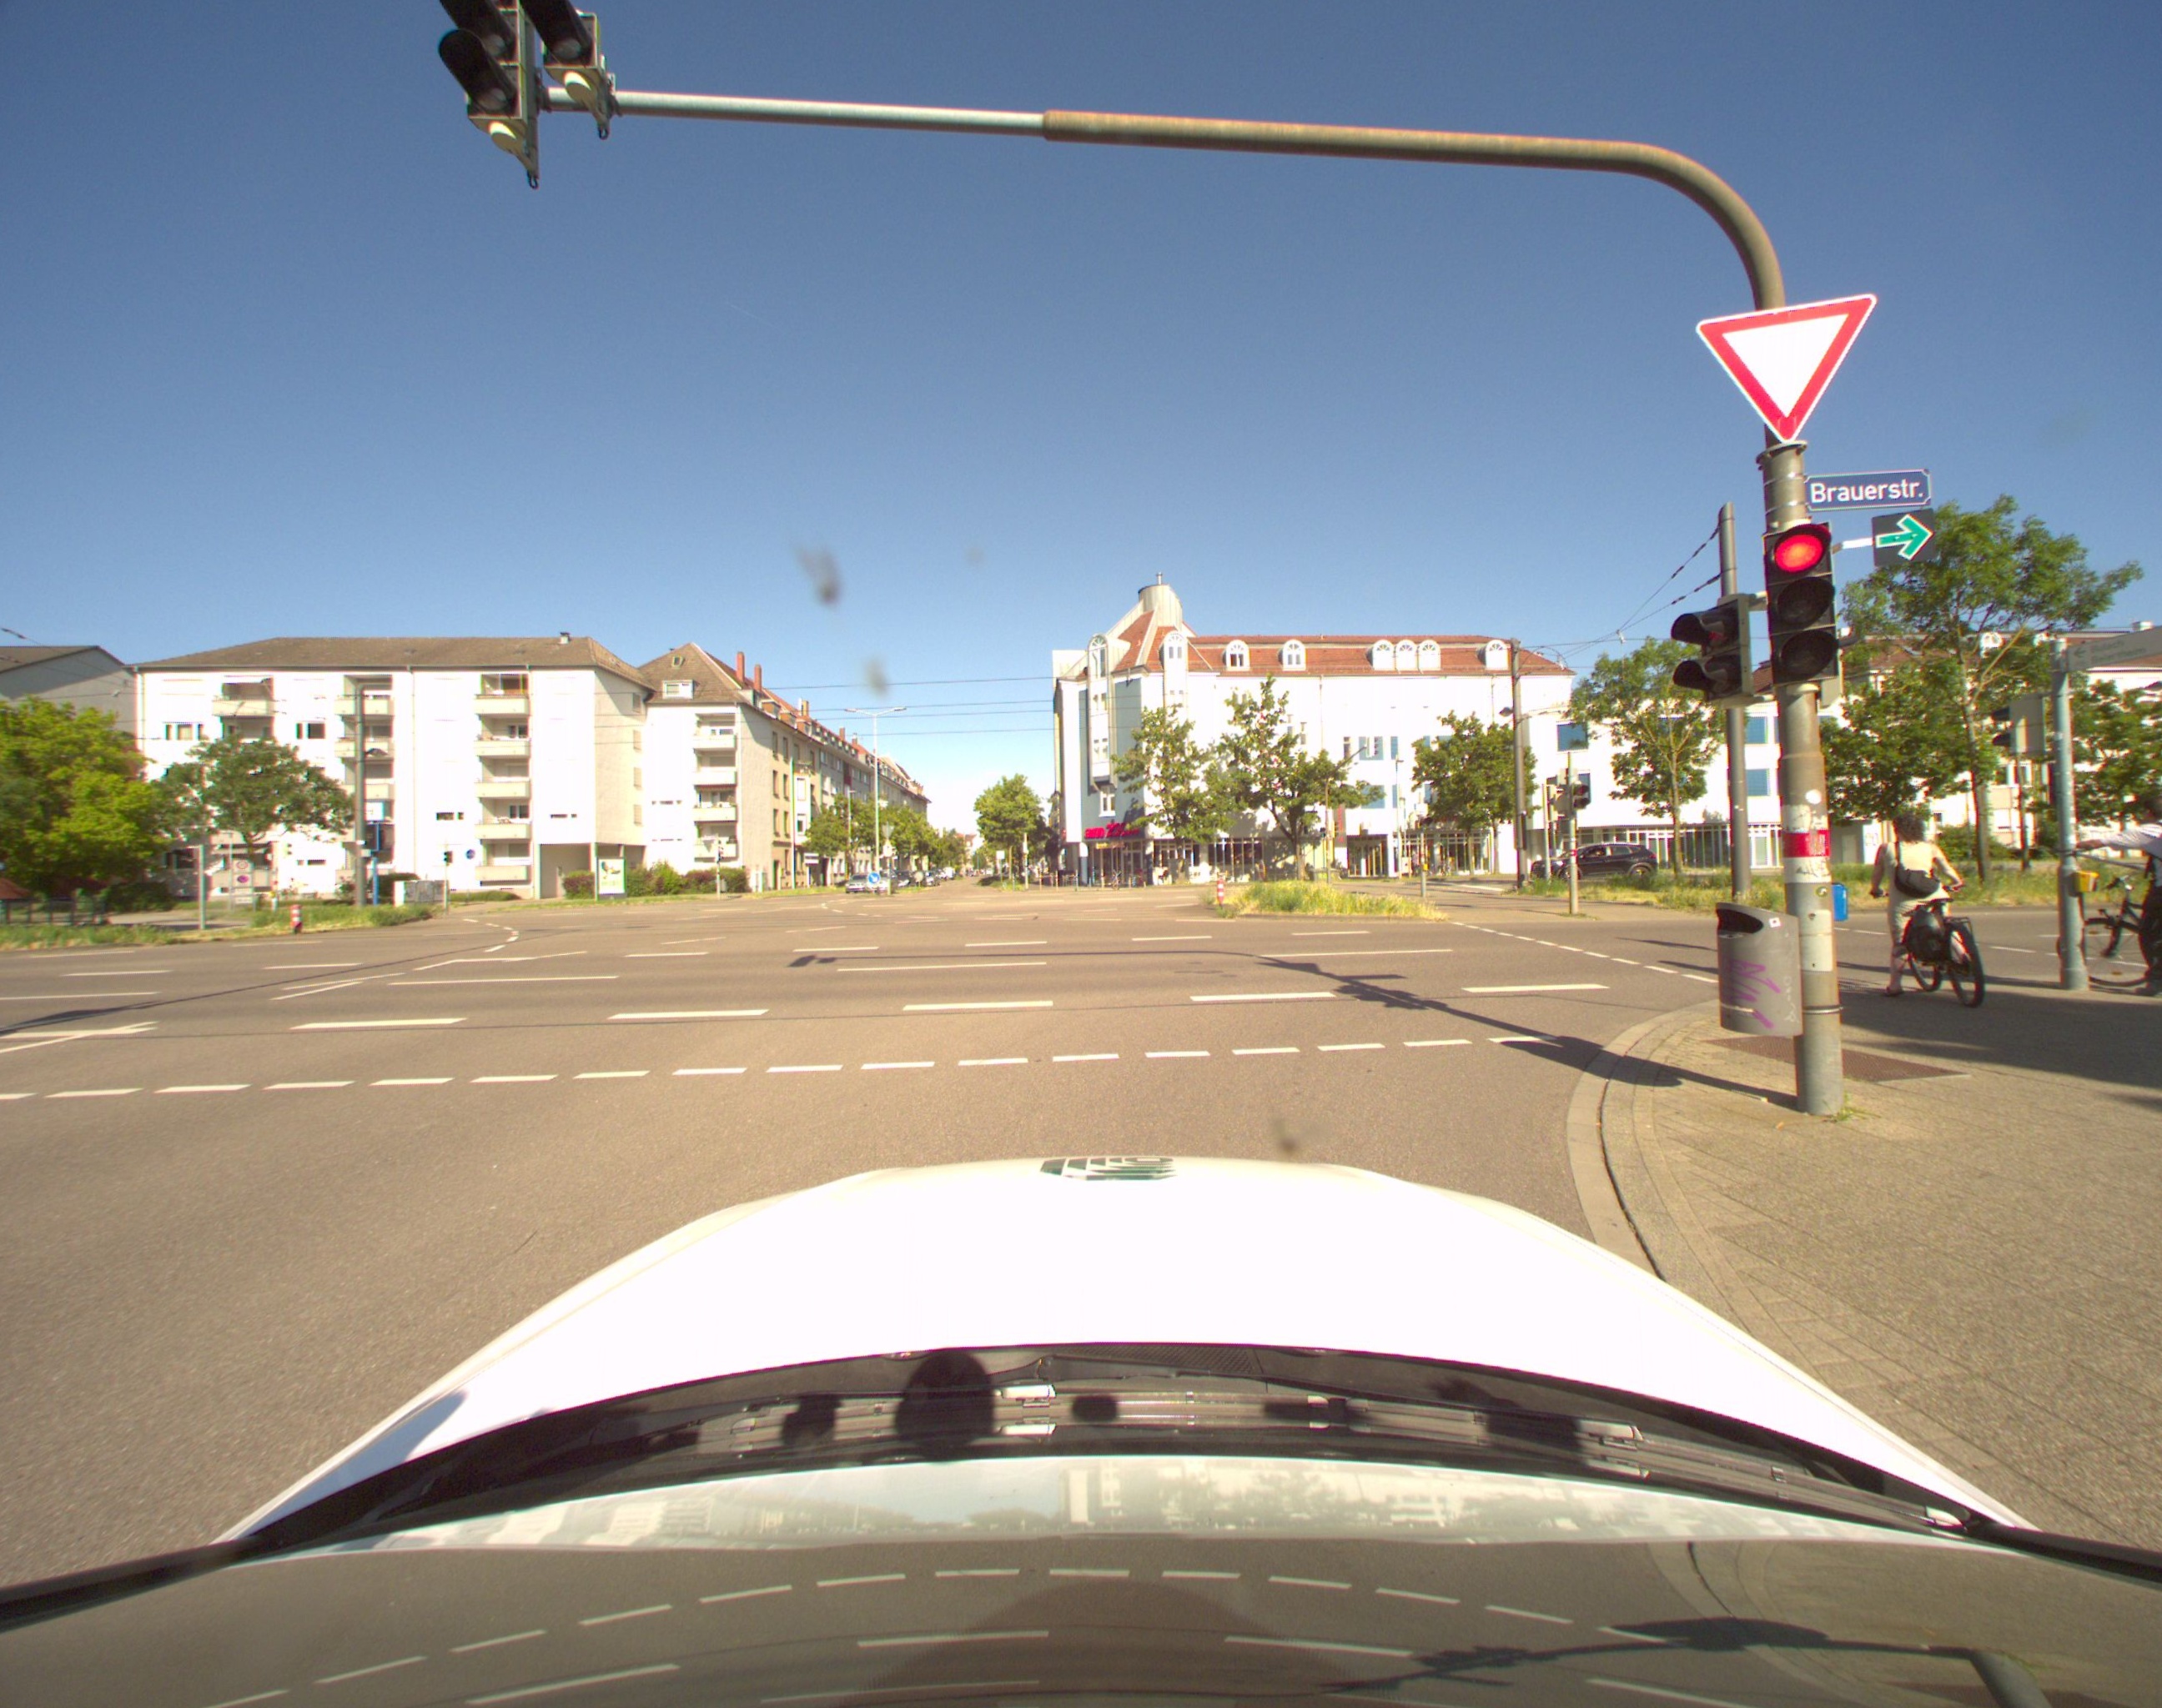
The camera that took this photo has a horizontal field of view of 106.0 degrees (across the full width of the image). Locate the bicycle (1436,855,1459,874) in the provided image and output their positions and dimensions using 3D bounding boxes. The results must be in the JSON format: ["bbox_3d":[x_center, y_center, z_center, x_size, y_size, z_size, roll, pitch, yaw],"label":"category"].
[{"bbox_3d":[23.453,0.647,52.169,0.559,1.182,1.868,-2,-1,-1],"label":"bicycle"}]

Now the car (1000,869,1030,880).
[{"bbox_3d":[-7.789,2.480,96.170,3.562,1.223,1.727,-1,-2,-6],"label":"car"}]

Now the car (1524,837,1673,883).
[{"bbox_3d":[20.193,0.261,31.972,4.478,1.609,2.003,-2,-1,6],"label":"car"}]

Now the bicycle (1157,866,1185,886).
[{"bbox_3d":[5.089,1.234,45.846,1.503,1.027,0.474,-2,-1,7],"label":"bicycle"}]

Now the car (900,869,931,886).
[{"bbox_3d":[-14.116,2.012,69.652,1.683,1.432,4.398,1,-1,0],"label":"car"}]

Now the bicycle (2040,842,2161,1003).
[{"bbox_3d":[10.103,0.574,7.663,0.782,1.348,2.277,-3,-1,35],"label":"bicycle"}]

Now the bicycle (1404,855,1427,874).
[{"bbox_3d":[21.567,0.658,52.477,0.559,1.182,1.867,-2,-1,-4],"label":"bicycle"}]

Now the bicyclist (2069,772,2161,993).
[{"bbox_3d":[10.012,0.241,7.540,0.782,1.959,1.017,-3,-1,35],"label":"bicyclist"}]

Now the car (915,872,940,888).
[{"bbox_3d":[-14.789,2.502,78.541,1.684,1.432,4.396,1,-1,-2],"label":"car"}]

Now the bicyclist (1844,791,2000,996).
[{"bbox_3d":[8.148,0.362,7.958,0.782,1.824,1.142,-3,-1,35],"label":"bicyclist"}]

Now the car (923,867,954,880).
[{"bbox_3d":[-22.048,3.008,126.101,4.499,2.014,1.996,-1,-2,-6],"label":"car"}]

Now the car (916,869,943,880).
[{"bbox_3d":[-21.337,2.914,114.800,3.562,1.416,1.923,-1,-2,-6],"label":"car"}]

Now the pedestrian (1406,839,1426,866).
[{"bbox_3d":[22.118,-0.101,53.840,0.988,1.723,0.653,-2,-1,-4],"label":"pedestrian"}]

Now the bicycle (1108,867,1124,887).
[{"bbox_3d":[1.858,1.240,43.399,0.472,1.027,1.509,-2,-1,-14],"label":"bicycle"}]

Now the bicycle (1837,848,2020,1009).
[{"bbox_3d":[8.136,0.636,7.935,0.782,1.348,2.092,-3,-1,35],"label":"bicycle"}]

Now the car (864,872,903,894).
[{"bbox_3d":[-13.776,2.018,57.116,1.683,1.432,4.397,1,-1,-1],"label":"car"}]

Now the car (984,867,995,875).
[{"bbox_3d":[-20.644,3.806,183.640,1.989,1.756,4.514,-1,-2,-3],"label":"car"}]

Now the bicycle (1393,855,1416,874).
[{"bbox_3d":[20.686,0.694,52.115,0.559,1.182,1.867,-2,-1,-4],"label":"bicycle"}]

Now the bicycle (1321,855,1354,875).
[{"bbox_3d":[15.936,0.693,50.669,1.862,1.182,0.560,-2,-1,-8],"label":"bicycle"}]

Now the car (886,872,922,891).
[{"bbox_3d":[-13.847,2.112,63.870,1.682,1.432,4.400,1,-1,1],"label":"car"}]

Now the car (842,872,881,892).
[{"bbox_3d":[-16.150,2.062,60.206,1.683,1.432,4.398,1,-1,0],"label":"car"}]

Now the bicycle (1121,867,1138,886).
[{"bbox_3d":[2.604,1.218,43.963,0.472,1.027,1.508,-2,-1,-15],"label":"bicycle"}]
